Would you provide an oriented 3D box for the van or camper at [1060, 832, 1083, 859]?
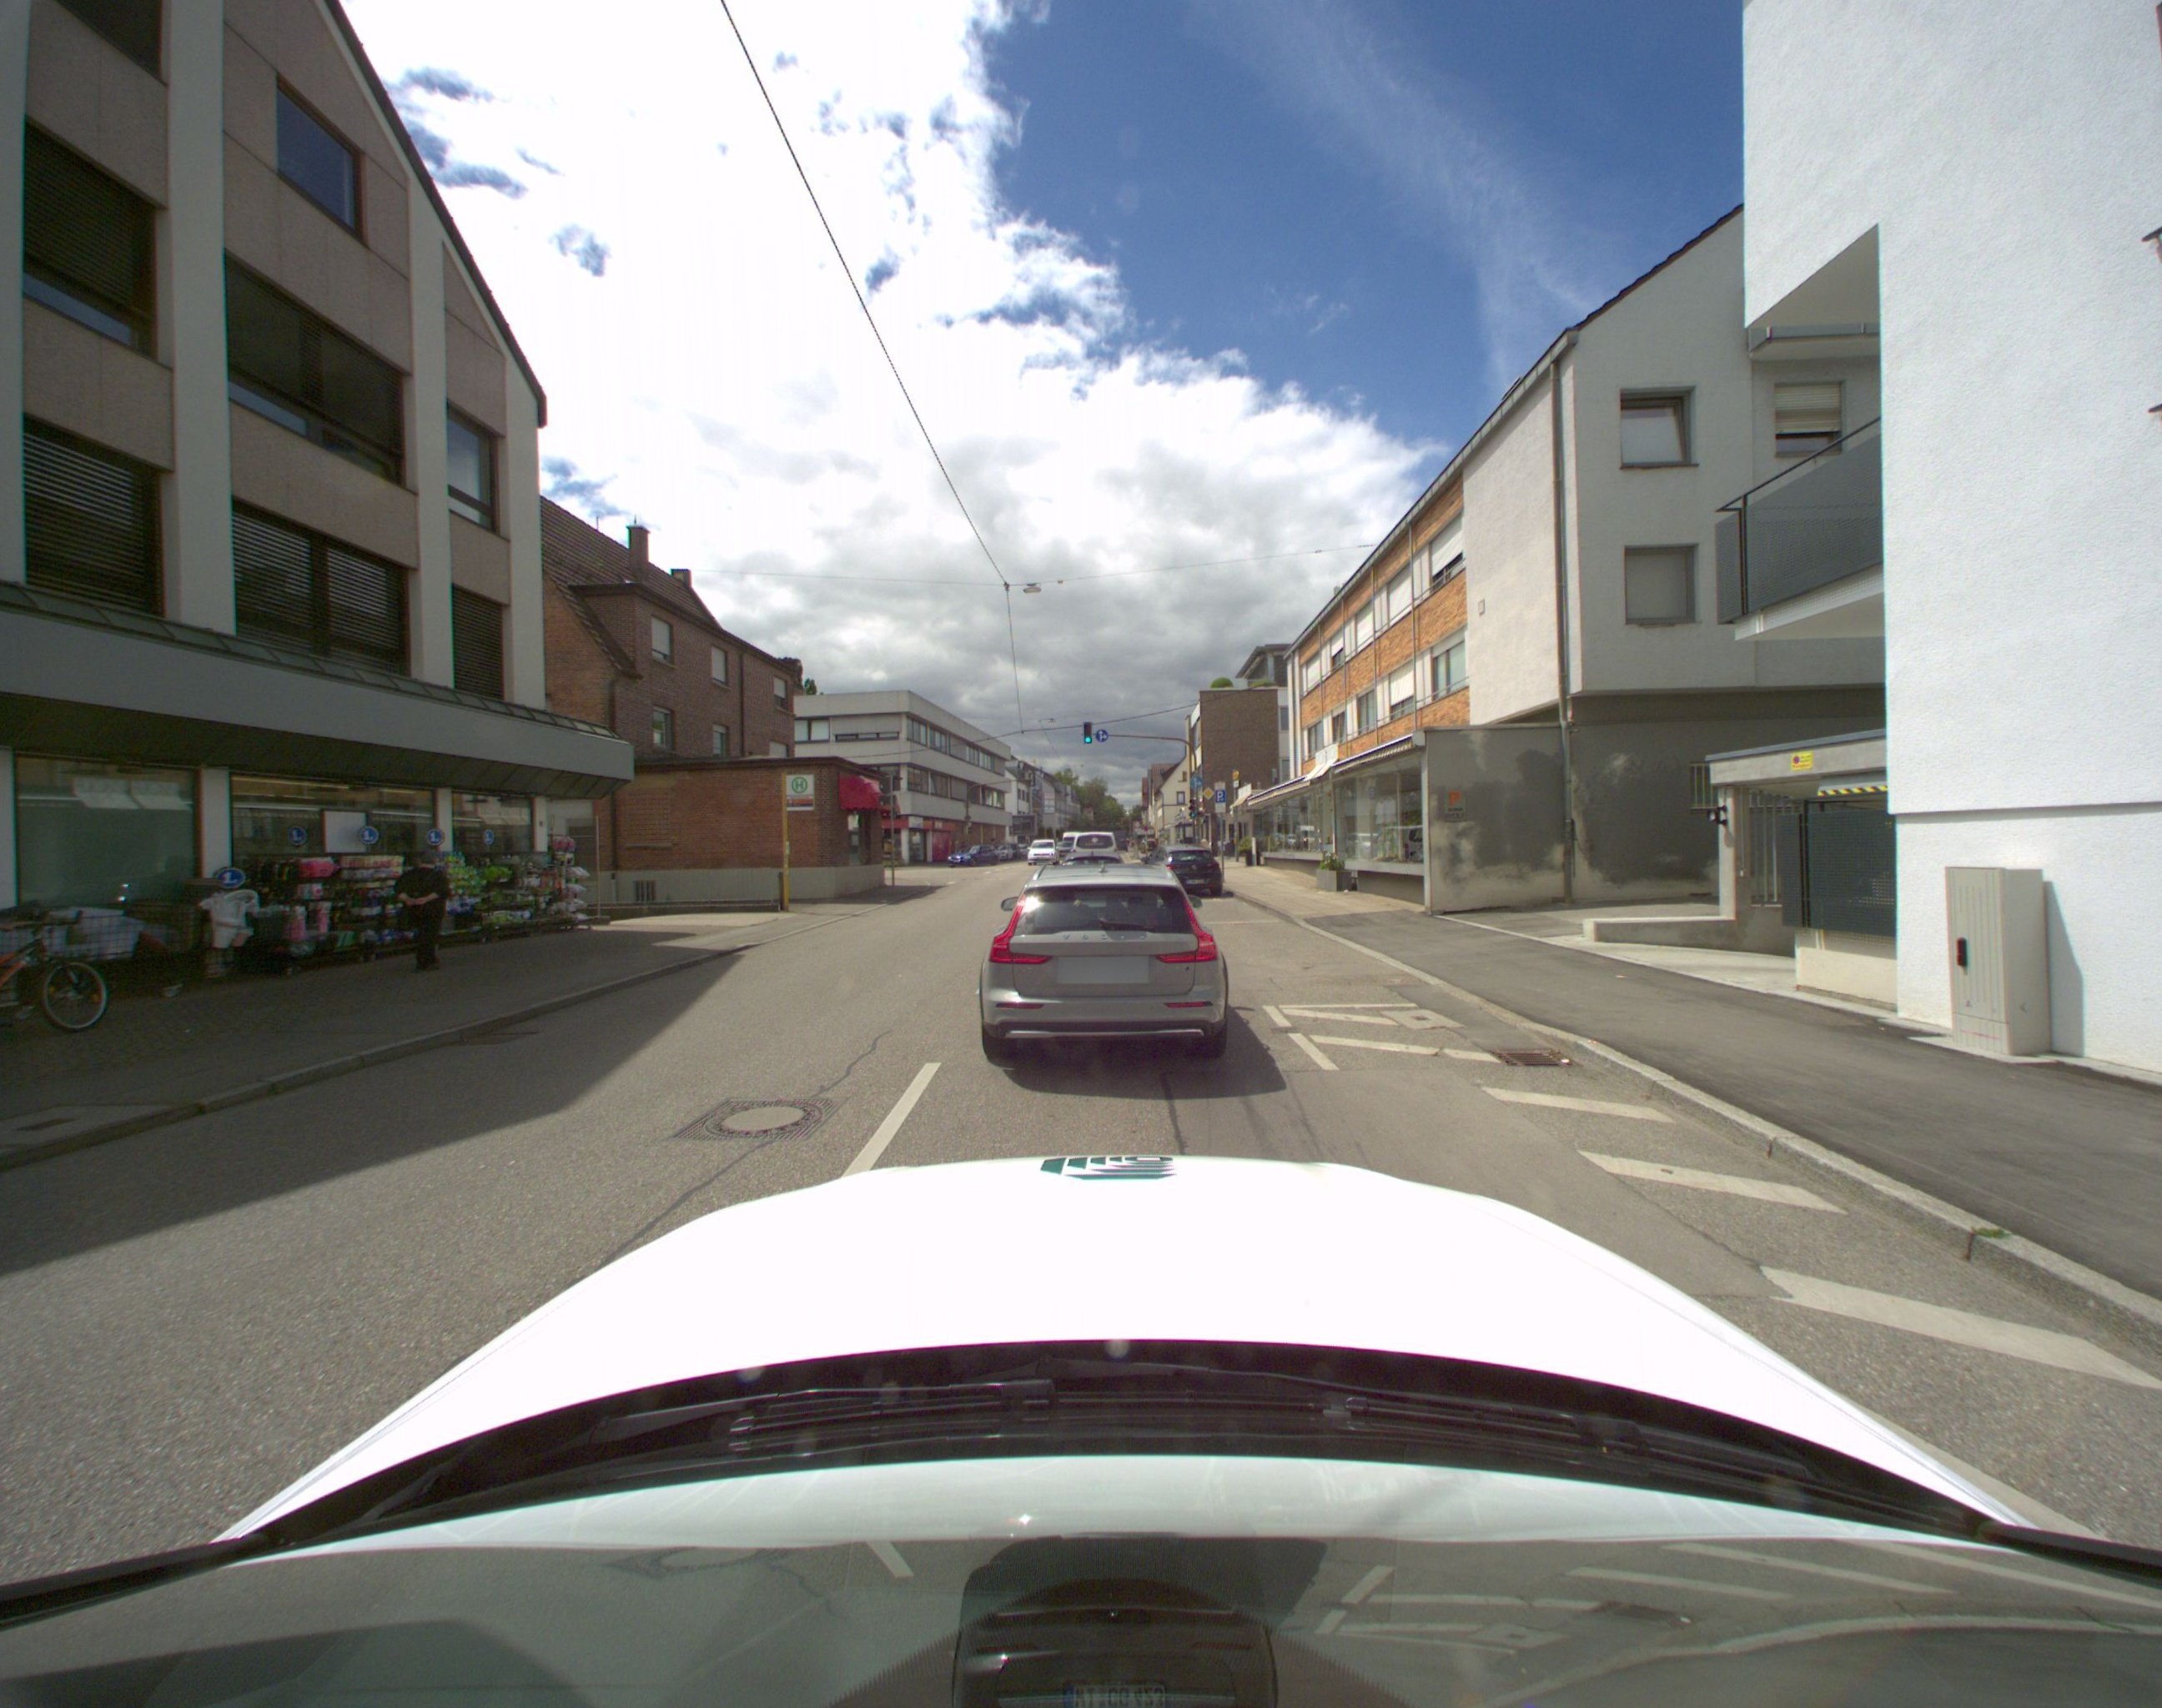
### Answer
[{"bbox_3d":[-0.932,-0.919,83.709,2.141,2.556,5.438,-2,2,0],"label":"van or camper"}]

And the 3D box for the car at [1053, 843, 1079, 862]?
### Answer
[{"bbox_3d":[-1.269,-0.126,68.963,1.782,1.511,3.850,-1,0,5],"label":"car"}]

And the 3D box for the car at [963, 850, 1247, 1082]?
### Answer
[{"bbox_3d":[0.219,0.740,7.331,1.829,1.486,4.001,-1,0,2],"label":"car"}]

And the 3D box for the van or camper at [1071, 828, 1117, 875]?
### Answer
[{"bbox_3d":[0.581,-0.093,34.807,1.812,1.835,4.002,-1,0,2],"label":"van or camper"}]

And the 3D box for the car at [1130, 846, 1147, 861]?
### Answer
[{"bbox_3d":[5.282,-0.050,74.692,1.433,1.288,3.249,-1,0,2],"label":"car"}]

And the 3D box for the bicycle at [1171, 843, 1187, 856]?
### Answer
[{"bbox_3d":[8.420,-0.391,69.993,0.555,1.144,2.288,-2,1,-15],"label":"bicycle"}]

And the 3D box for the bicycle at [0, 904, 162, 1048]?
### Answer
[{"bbox_3d":[-8.842,1.015,6.708,0.442,1.050,1.735,5,0,2],"label":"bicycle"}]

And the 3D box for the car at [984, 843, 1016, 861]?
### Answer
[{"bbox_3d":[-7.102,-0.206,71.929,1.894,1.443,4.451,0,1,6],"label":"car"}]

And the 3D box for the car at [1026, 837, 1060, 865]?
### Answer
[{"bbox_3d":[-2.401,-0.210,52.639,1.768,1.612,4.122,-3,1,2],"label":"car"}]

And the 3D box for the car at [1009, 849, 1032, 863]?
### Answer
[{"bbox_3d":[-6.232,0.219,84.003,1.747,1.426,3.867,-1,0,5],"label":"car"}]

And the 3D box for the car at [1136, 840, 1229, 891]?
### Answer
[{"bbox_3d":[2.896,0.314,23.943,1.806,1.346,3.707,-1,0,-8],"label":"car"}]

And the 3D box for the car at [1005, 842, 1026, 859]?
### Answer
[{"bbox_3d":[-6.252,-0.339,77.806,1.601,1.543,2.947,0,1,3],"label":"car"}]

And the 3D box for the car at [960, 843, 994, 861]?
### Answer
[{"bbox_3d":[-8.378,-0.191,65.776,1.776,1.464,4.094,0,1,6],"label":"car"}]

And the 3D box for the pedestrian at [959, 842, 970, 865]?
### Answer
[{"bbox_3d":[-8.452,-0.031,59.153,0.616,1.641,0.661,-2,1,3],"label":"pedestrian"}]

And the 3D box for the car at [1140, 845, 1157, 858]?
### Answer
[{"bbox_3d":[7.867,-0.311,95.056,1.705,1.464,3.999,-1,-1,0],"label":"car"}]

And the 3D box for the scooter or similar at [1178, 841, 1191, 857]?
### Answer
[{"bbox_3d":[8.450,-0.426,66.627,0.342,1.253,1.236,-4,0,-23],"label":"scooter or similar"}]

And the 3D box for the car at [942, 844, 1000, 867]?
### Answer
[{"bbox_3d":[-7.318,0.082,54.599,1.977,1.337,4.378,-2,1,19],"label":"car"}]

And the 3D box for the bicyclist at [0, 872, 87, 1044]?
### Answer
[{"bbox_3d":[-9.018,0.845,6.707,0.664,1.337,0.762,3,0,1],"label":"bicyclist"}]

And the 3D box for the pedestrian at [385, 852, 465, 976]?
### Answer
[{"bbox_3d":[-8.618,0.762,10.722,0.776,1.558,0.567,1,-2,-39],"label":"pedestrian"}]

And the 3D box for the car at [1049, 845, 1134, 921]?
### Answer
[{"bbox_3d":[0.259,0.555,17.722,1.644,1.482,3.609,-1,0,2],"label":"car"}]

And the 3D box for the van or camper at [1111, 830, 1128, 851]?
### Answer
[{"bbox_3d":[5.059,-1.770,106.820,2.114,2.686,4.785,-2,1,3],"label":"van or camper"}]
